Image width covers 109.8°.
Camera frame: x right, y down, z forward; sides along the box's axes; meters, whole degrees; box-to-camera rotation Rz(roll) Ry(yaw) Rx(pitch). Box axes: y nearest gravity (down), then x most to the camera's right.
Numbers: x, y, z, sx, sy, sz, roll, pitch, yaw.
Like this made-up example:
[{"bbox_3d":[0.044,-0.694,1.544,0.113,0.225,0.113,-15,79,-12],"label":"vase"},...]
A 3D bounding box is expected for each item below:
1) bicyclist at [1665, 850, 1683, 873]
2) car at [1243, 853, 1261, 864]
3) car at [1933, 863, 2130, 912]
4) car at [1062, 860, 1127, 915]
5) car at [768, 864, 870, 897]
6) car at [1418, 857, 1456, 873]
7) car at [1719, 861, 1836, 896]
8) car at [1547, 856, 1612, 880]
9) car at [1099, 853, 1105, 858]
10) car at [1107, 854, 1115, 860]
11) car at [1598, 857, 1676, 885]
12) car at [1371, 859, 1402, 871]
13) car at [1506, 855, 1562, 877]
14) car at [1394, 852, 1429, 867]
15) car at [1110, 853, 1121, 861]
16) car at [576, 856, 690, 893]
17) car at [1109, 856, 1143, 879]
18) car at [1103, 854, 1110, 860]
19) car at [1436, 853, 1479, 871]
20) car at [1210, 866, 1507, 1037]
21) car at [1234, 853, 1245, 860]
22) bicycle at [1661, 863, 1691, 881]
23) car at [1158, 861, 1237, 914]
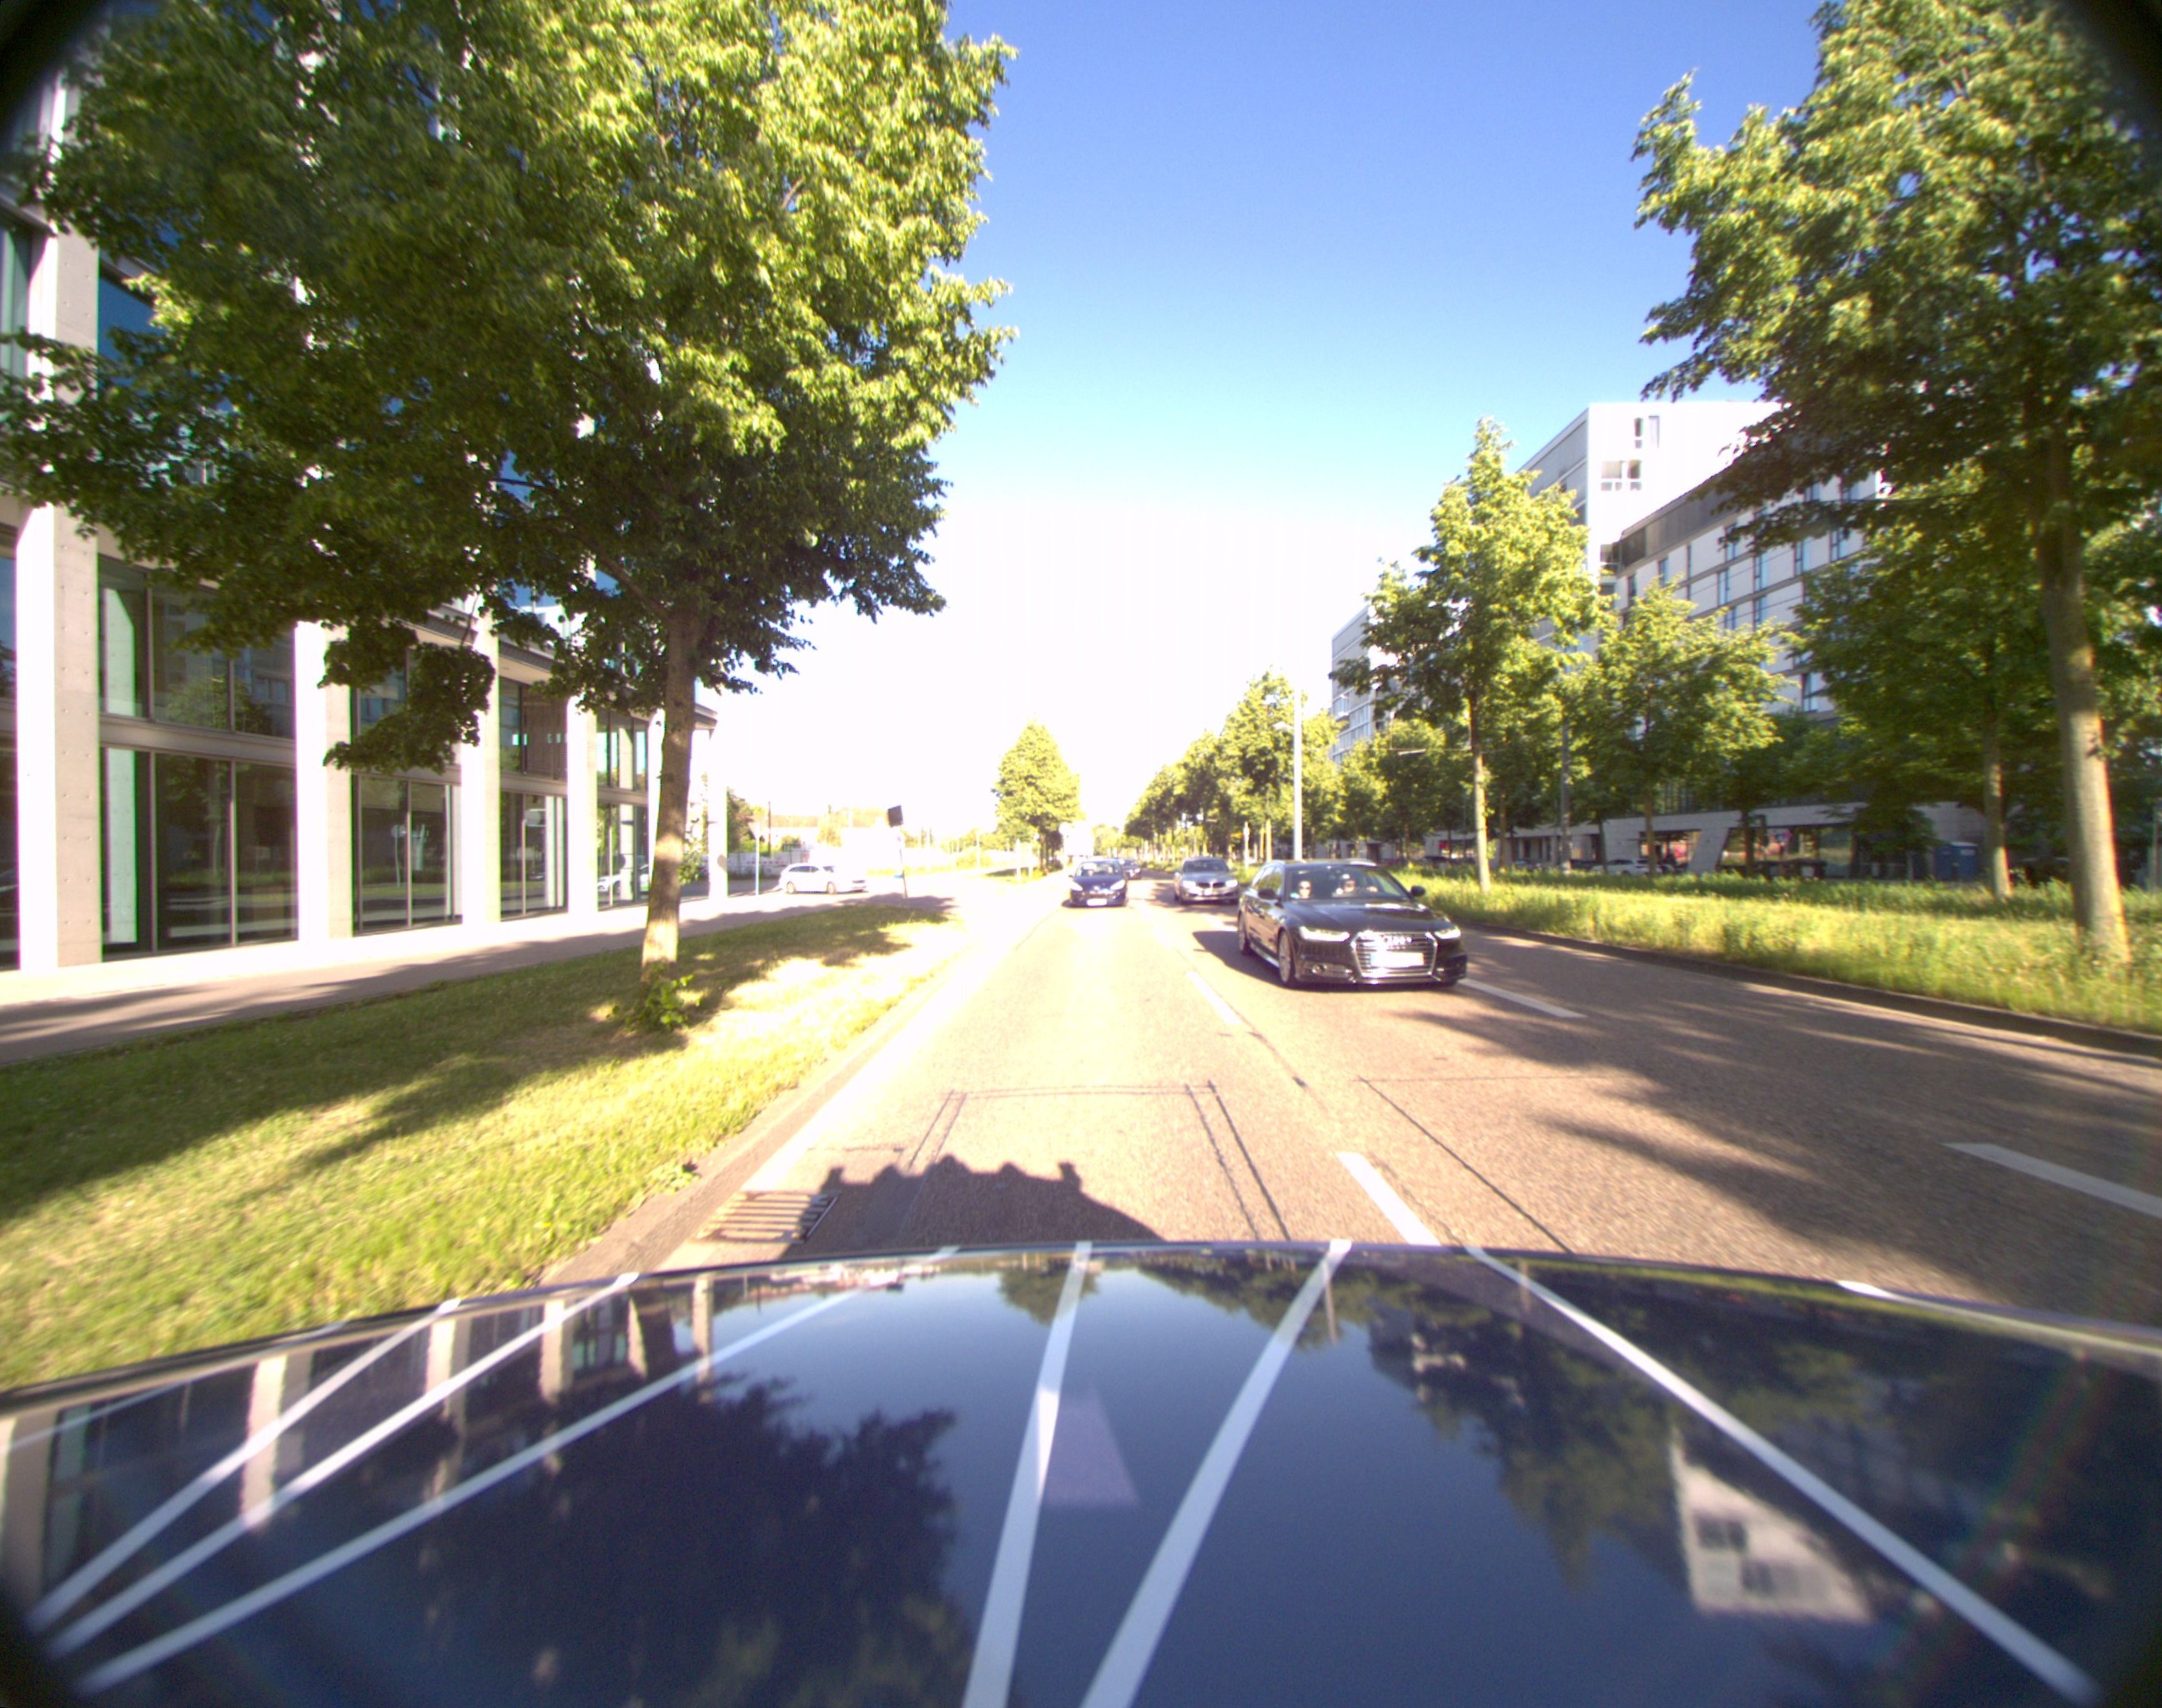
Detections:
[{"bbox_3d":[37.361,0.472,47.863,0.478,1.416,0.820,0,1,1],"label":"bicyclist"},{"bbox_3d":[26.639,0.625,118.500,1.895,1.671,4.000,0,0,1],"label":"car"},{"bbox_3d":[34.293,1.157,27.629,1.951,1.588,4.183,0,0,1],"label":"car"},{"bbox_3d":[0.422,0.975,23.948,1.846,1.473,4.481,0,0,1],"label":"car"},{"bbox_3d":[-12.375,1.198,35.855,4.556,1.439,1.808,0,1,26],"label":"car"},{"bbox_3d":[35.267,1.065,75.388,1.884,1.588,4.183,0,0,1],"label":"car"},{"bbox_3d":[34.287,1.175,37.576,1.951,1.588,4.183,0,0,1],"label":"car"},{"bbox_3d":[35.035,0.949,53.511,1.884,1.588,4.183,0,0,1],"label":"car"},{"bbox_3d":[6.636,0.425,235.501,1.878,1.577,4.344,0,0,2],"label":"car"},{"bbox_3d":[7.185,0.802,183.395,1.878,1.415,4.344,0,0,2],"label":"car"},{"bbox_3d":[34.752,1.033,47.636,1.884,1.588,4.183,0,0,1],"label":"car"},{"bbox_3d":[35.587,1.250,88.597,1.999,1.387,3.999,0,0,-2],"label":"car"},{"bbox_3d":[34.996,0.883,58.793,1.884,1.588,4.183,0,0,1],"label":"car"},{"bbox_3d":[35.316,0.579,81.302,1.884,1.588,4.183,0,0,1],"label":"car"},{"bbox_3d":[6.215,0.567,138.973,1.861,1.482,4.000,0,0,1],"label":"car"},{"bbox_3d":[-20.178,0.903,34.343,3.996,1.569,2.000,0,1,3],"label":"car"},{"bbox_3d":[2.949,0.875,50.759,1.998,1.437,4.622,0,0,1],"label":"car"},{"bbox_3d":[6.909,0.830,207.614,1.724,1.516,4.000,0,0,1],"label":"car"},{"bbox_3d":[34.858,0.738,70.474,1.884,1.588,4.183,0,0,1],"label":"car"},{"bbox_3d":[3.004,0.942,9.551,1.879,1.476,4.966,0,0,0],"label":"car"},{"bbox_3d":[35.807,0.534,171.509,1.998,1.387,4.001,0,0,4],"label":"car"},{"bbox_3d":[37.362,1.123,47.717,0.478,1.029,1.756,0,1,1],"label":"bicycle"},{"bbox_3d":[3.615,0.991,24.394,1.824,1.476,4.560,0,0,0],"label":"car"}]
